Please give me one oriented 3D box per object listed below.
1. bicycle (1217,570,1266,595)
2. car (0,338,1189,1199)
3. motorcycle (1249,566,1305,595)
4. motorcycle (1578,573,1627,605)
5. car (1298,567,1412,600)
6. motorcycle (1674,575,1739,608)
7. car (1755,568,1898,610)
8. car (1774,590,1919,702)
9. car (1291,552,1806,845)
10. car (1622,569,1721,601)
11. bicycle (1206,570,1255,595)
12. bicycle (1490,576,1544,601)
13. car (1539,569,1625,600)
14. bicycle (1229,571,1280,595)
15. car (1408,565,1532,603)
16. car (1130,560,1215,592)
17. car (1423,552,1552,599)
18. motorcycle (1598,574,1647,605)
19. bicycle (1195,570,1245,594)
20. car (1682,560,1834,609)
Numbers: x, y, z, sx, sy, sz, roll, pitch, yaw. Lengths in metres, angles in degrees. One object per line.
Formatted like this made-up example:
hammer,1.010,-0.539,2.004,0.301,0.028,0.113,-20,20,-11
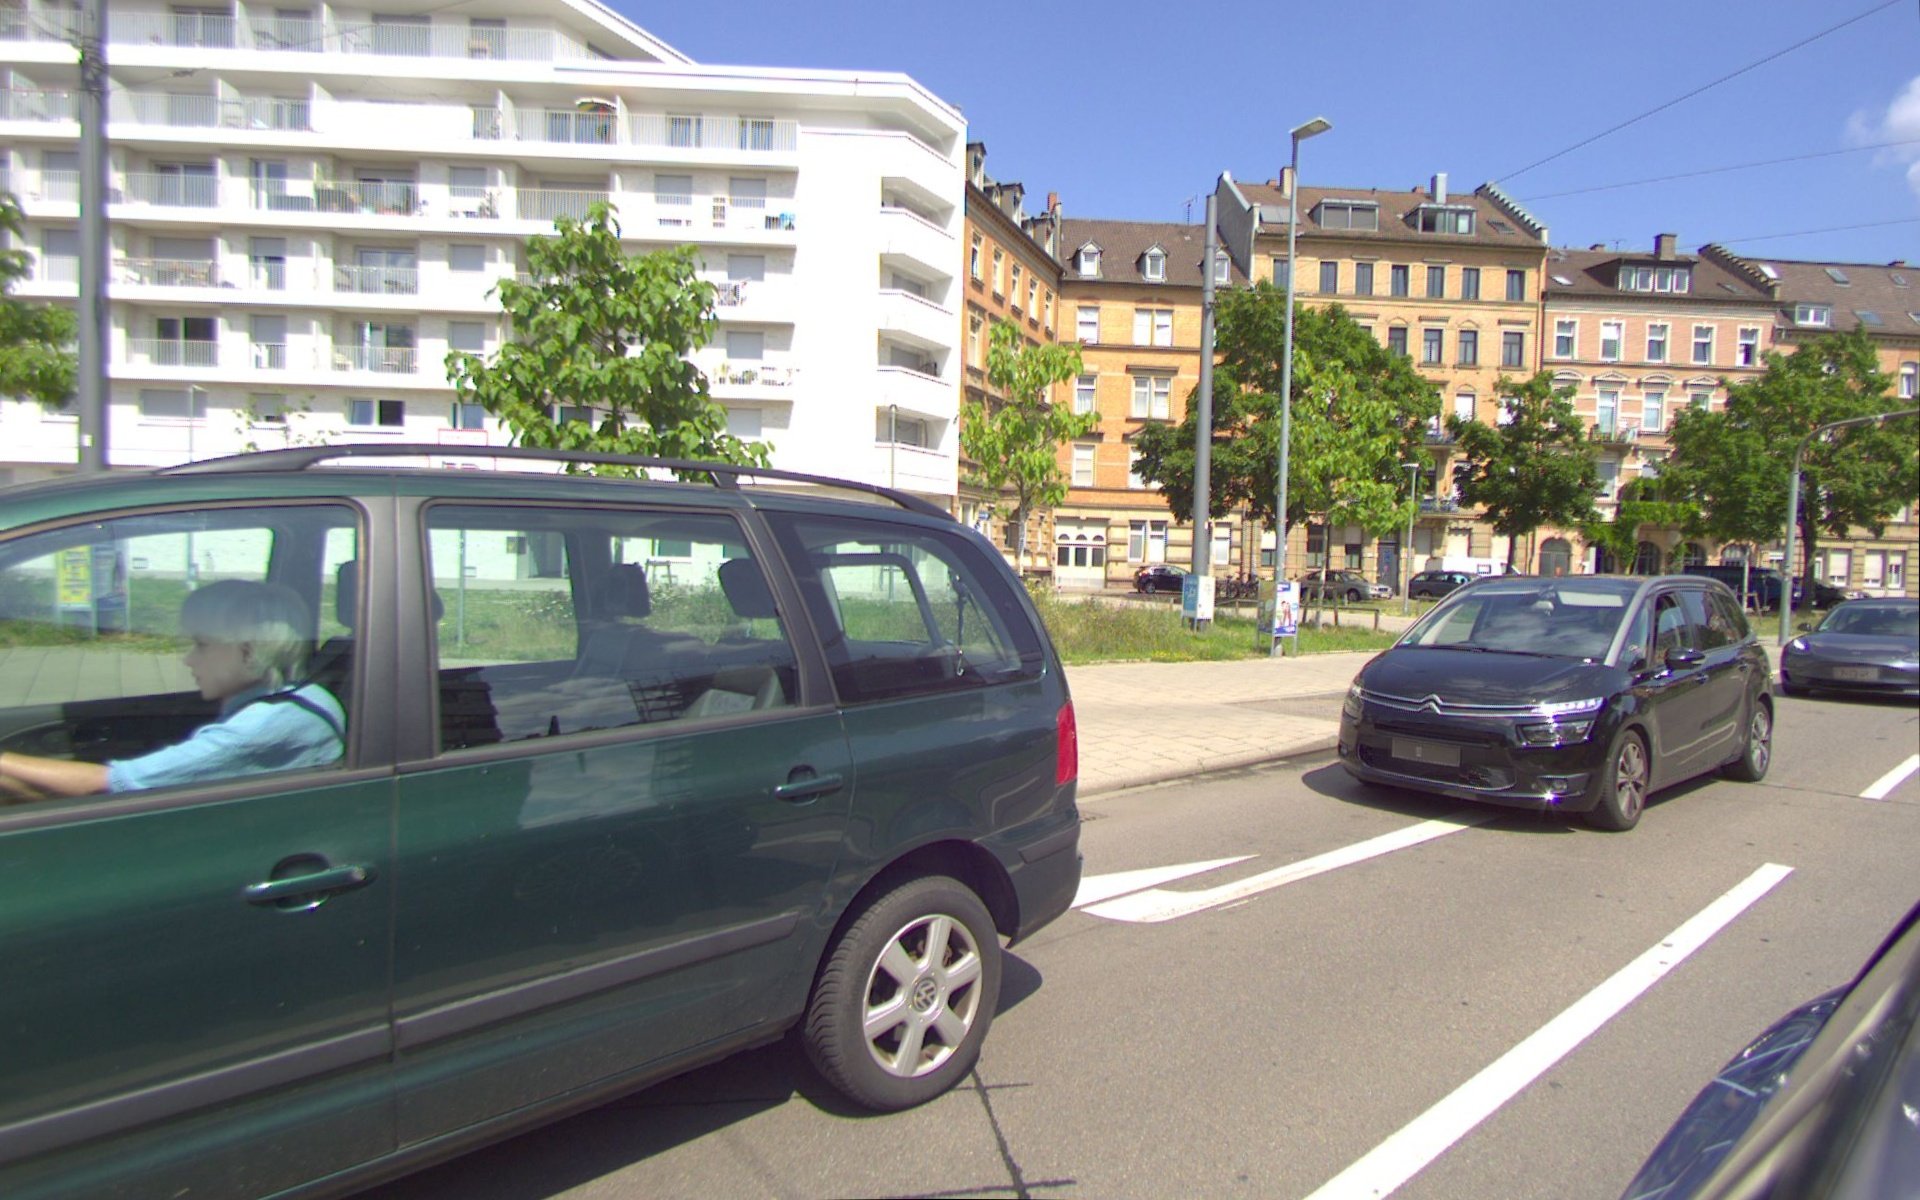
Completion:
bicycle,11.584,-0.731,41.727,0.532,0.981,2.396,1,1,-25
car,-1.657,0.473,2.565,4.944,1.778,1.822,0,1,-41
motorcycle,13.190,-0.813,42.209,0.796,1.139,2.396,1,1,-25
motorcycle,25.083,-0.436,39.543,0.627,1.181,1.791,1,2,-3
car,16.002,-0.684,41.214,1.825,1.260,4.172,1,1,-26
motorcycle,28.539,-0.343,38.716,1.876,1.181,0.638,2,2,11
car,36.387,-0.492,42.615,1.878,1.677,4.181,1,1,-28
car,13.668,0.576,14.580,4.231,1.411,1.916,0,1,-35
car,4.566,0.521,7.652,4.111,1.639,1.877,0,1,-36
car,35.925,-0.759,51.134,3.779,1.510,1.665,1,1,-1
bicycle,11.062,-0.735,41.487,0.532,0.981,2.396,1,1,-25
bicycle,21.309,-0.437,38.710,1.784,0.912,0.544,1,1,-5
car,31.272,-0.796,50.909,3.288,1.420,1.569,1,2,1
bicycle,12.203,-0.719,42.014,0.532,0.968,2.396,1,1,-25
car,21.130,-0.691,42.093,1.769,1.445,4.265,0,2,-31
car,10.451,-1.173,49.895,3.779,1.510,1.665,1,1,-1
car,26.273,-1.233,50.554,5.290,2.206,2.118,1,1,-1
motorcycle,25.878,-0.423,39.571,0.627,1.181,1.791,1,2,-3
bicycle,10.568,-0.739,41.242,0.532,0.981,2.396,1,1,-25
car,33.404,-0.677,42.501,1.879,1.951,4.633,0,1,-32
